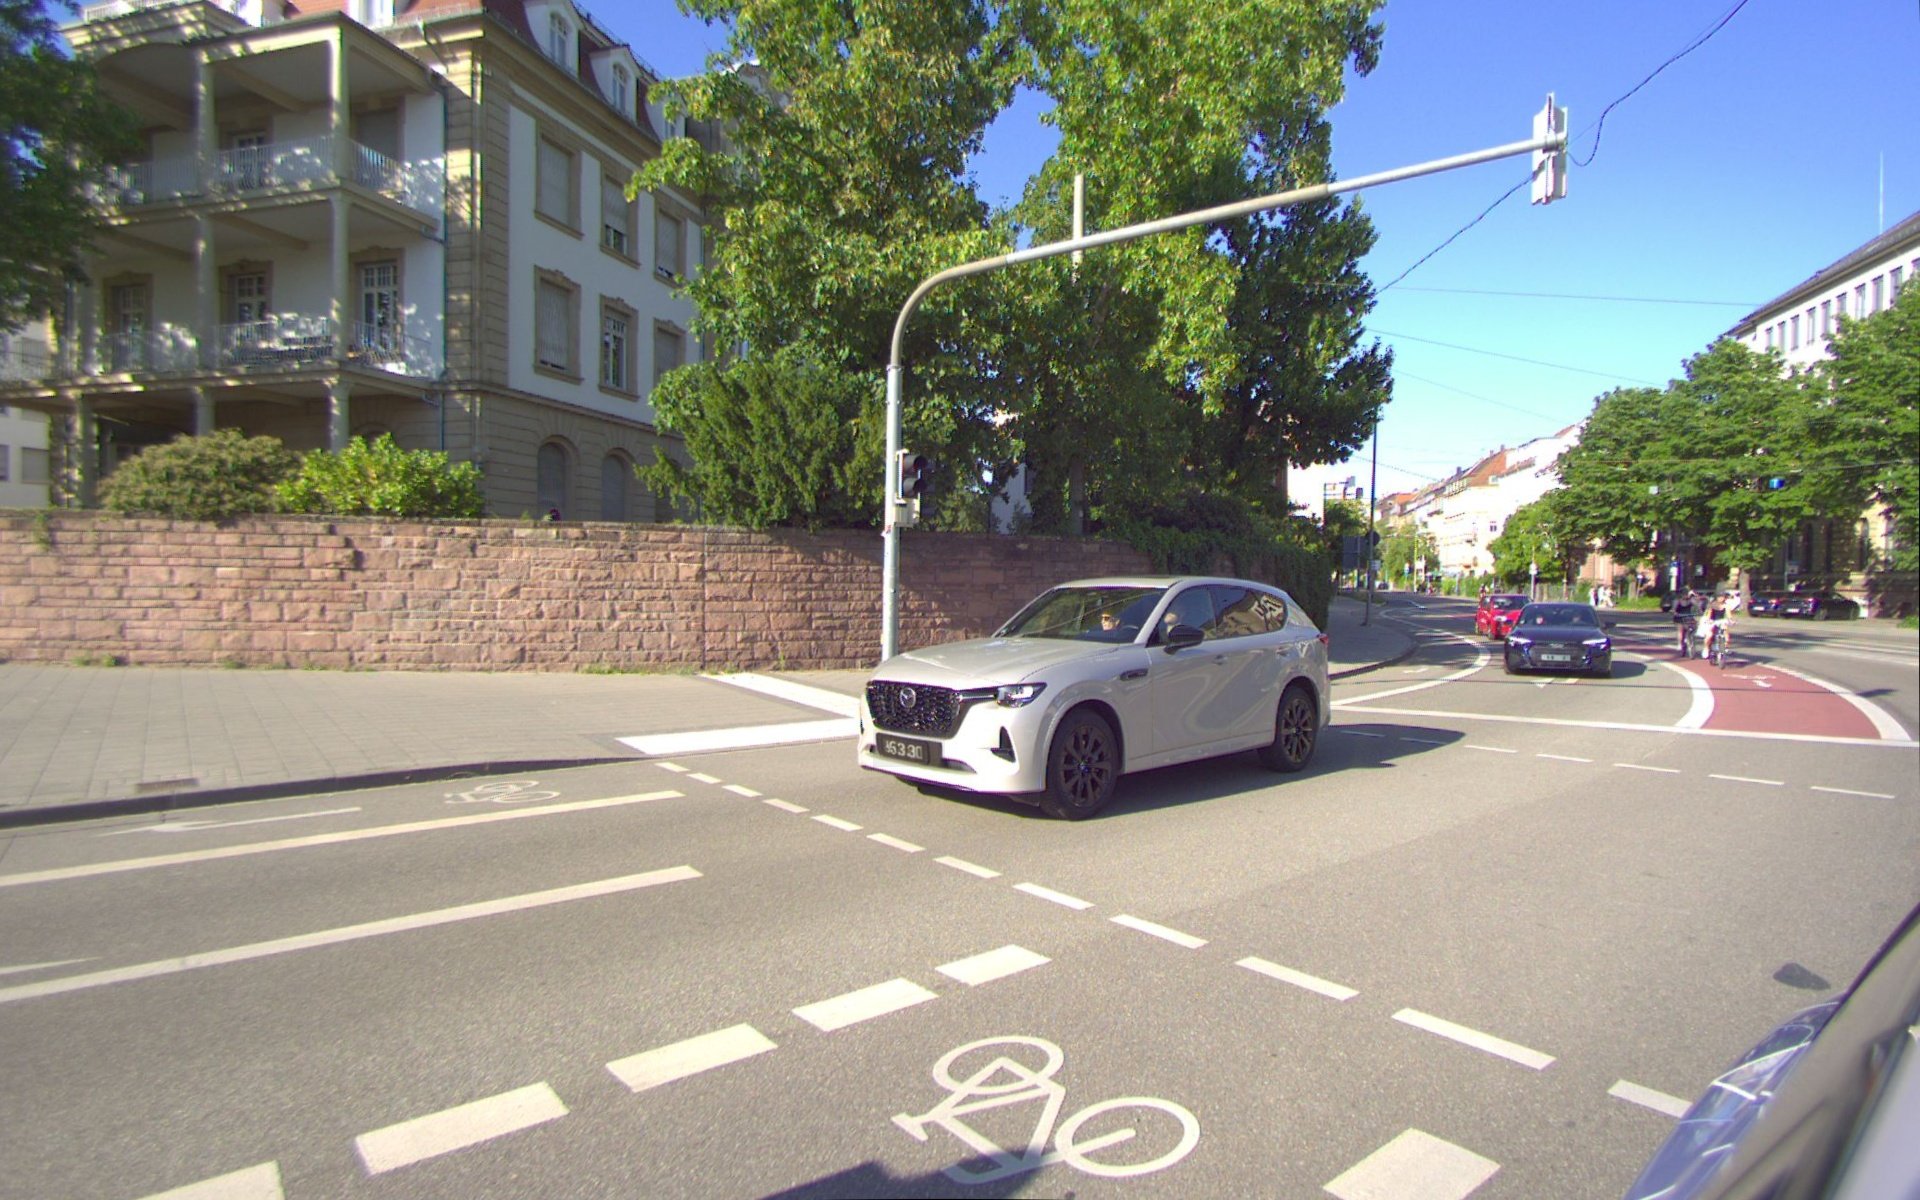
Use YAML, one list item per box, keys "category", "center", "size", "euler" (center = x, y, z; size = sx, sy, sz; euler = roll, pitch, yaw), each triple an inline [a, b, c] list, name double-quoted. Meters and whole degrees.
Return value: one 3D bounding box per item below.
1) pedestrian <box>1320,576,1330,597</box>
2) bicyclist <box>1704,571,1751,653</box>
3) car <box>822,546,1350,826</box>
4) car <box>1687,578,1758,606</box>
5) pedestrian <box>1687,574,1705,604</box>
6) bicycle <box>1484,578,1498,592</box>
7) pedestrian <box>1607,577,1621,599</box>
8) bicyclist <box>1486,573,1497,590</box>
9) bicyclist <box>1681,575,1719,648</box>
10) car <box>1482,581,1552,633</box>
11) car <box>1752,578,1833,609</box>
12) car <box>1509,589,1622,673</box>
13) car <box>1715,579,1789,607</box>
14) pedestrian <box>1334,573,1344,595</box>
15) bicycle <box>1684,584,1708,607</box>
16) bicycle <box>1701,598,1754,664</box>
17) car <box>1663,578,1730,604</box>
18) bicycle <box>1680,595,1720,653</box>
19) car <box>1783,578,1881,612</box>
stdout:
- category: "pedestrian"
  center: [29.071, -1.102, 80.567]
  size: [0.667, 1.668, 0.813]
  euler: [0, 1, 18]
- category: "bicyclist"
  center: [16.226, 0.237, 21.411]
  size: [0.671, 1.667, 1.017]
  euler: [2, 1, 33]
- category: "car"
  center: [1.257, 0.468, 8.433]
  size: [4.455, 1.713, 1.943]
  euler: [-2, 1, -43]
- category: "car"
  center: [46.909, -0.497, 62.293]
  size: [3.573, 1.580, 1.653]
  euler: [-1, 1, -16]
- category: "pedestrian"
  center: [41.529, -0.626, 57.101]
  size: [0.669, 1.668, 0.810]
  euler: [1, 1, 27]
- category: "bicycle"
  center: [50.913, -1.469, 97.037]
  size: [0.667, 1.266, 2.443]
  euler: [1, 2, 18]
- category: "pedestrian"
  center: [50.134, -0.960, 77.560]
  size: [0.667, 1.668, 0.813]
  euler: [0, 1, 18]
- category: "bicyclist"
  center: [50.905, -1.769, 96.958]
  size: [0.667, 1.667, 1.023]
  euler: [1, 1, 18]
- category: "bicyclist"
  center: [17.593, 0.253, 24.074]
  size: [0.671, 1.667, 1.016]
  euler: [2, 1, 35]
- category: "car"
  center: [18.212, 0.199, 33.206]
  size: [1.632, 1.580, 3.622]
  euler: [-1, 1, 23]
- category: "car"
  center: [44.824, -0.351, 54.510]
  size: [3.573, 1.580, 1.653]
  euler: [-1, 1, -16]
- category: "car"
  center: [12.183, 0.536, 20.303]
  size: [1.776, 1.451, 3.954]
  euler: [-1, 1, 33]
- category: "car"
  center: [46.813, -0.440, 59.855]
  size: [3.573, 1.580, 1.653]
  euler: [-1, 1, -16]
- category: "pedestrian"
  center: [30.055, -1.277, 80.291]
  size: [0.667, 1.668, 0.813]
  euler: [0, 1, 18]
- category: "bicycle"
  center: [41.509, -0.250, 57.079]
  size: [0.670, 1.266, 2.434]
  euler: [1, 1, 26]
- category: "bicycle"
  center: [16.225, 0.618, 21.432]
  size: [0.671, 1.266, 2.428]
  euler: [2, 2, 33]
- category: "car"
  center: [47.780, -0.589, 65.646]
  size: [3.573, 1.580, 1.653]
  euler: [-1, 1, -16]
- category: "bicycle"
  center: [17.585, 0.540, 24.075]
  size: [0.672, 1.266, 2.426]
  euler: [2, 2, 35]
- category: "car"
  center: [44.530, -0.271, 51.695]
  size: [4.093, 1.651, 1.850]
  euler: [-1, 1, -16]
